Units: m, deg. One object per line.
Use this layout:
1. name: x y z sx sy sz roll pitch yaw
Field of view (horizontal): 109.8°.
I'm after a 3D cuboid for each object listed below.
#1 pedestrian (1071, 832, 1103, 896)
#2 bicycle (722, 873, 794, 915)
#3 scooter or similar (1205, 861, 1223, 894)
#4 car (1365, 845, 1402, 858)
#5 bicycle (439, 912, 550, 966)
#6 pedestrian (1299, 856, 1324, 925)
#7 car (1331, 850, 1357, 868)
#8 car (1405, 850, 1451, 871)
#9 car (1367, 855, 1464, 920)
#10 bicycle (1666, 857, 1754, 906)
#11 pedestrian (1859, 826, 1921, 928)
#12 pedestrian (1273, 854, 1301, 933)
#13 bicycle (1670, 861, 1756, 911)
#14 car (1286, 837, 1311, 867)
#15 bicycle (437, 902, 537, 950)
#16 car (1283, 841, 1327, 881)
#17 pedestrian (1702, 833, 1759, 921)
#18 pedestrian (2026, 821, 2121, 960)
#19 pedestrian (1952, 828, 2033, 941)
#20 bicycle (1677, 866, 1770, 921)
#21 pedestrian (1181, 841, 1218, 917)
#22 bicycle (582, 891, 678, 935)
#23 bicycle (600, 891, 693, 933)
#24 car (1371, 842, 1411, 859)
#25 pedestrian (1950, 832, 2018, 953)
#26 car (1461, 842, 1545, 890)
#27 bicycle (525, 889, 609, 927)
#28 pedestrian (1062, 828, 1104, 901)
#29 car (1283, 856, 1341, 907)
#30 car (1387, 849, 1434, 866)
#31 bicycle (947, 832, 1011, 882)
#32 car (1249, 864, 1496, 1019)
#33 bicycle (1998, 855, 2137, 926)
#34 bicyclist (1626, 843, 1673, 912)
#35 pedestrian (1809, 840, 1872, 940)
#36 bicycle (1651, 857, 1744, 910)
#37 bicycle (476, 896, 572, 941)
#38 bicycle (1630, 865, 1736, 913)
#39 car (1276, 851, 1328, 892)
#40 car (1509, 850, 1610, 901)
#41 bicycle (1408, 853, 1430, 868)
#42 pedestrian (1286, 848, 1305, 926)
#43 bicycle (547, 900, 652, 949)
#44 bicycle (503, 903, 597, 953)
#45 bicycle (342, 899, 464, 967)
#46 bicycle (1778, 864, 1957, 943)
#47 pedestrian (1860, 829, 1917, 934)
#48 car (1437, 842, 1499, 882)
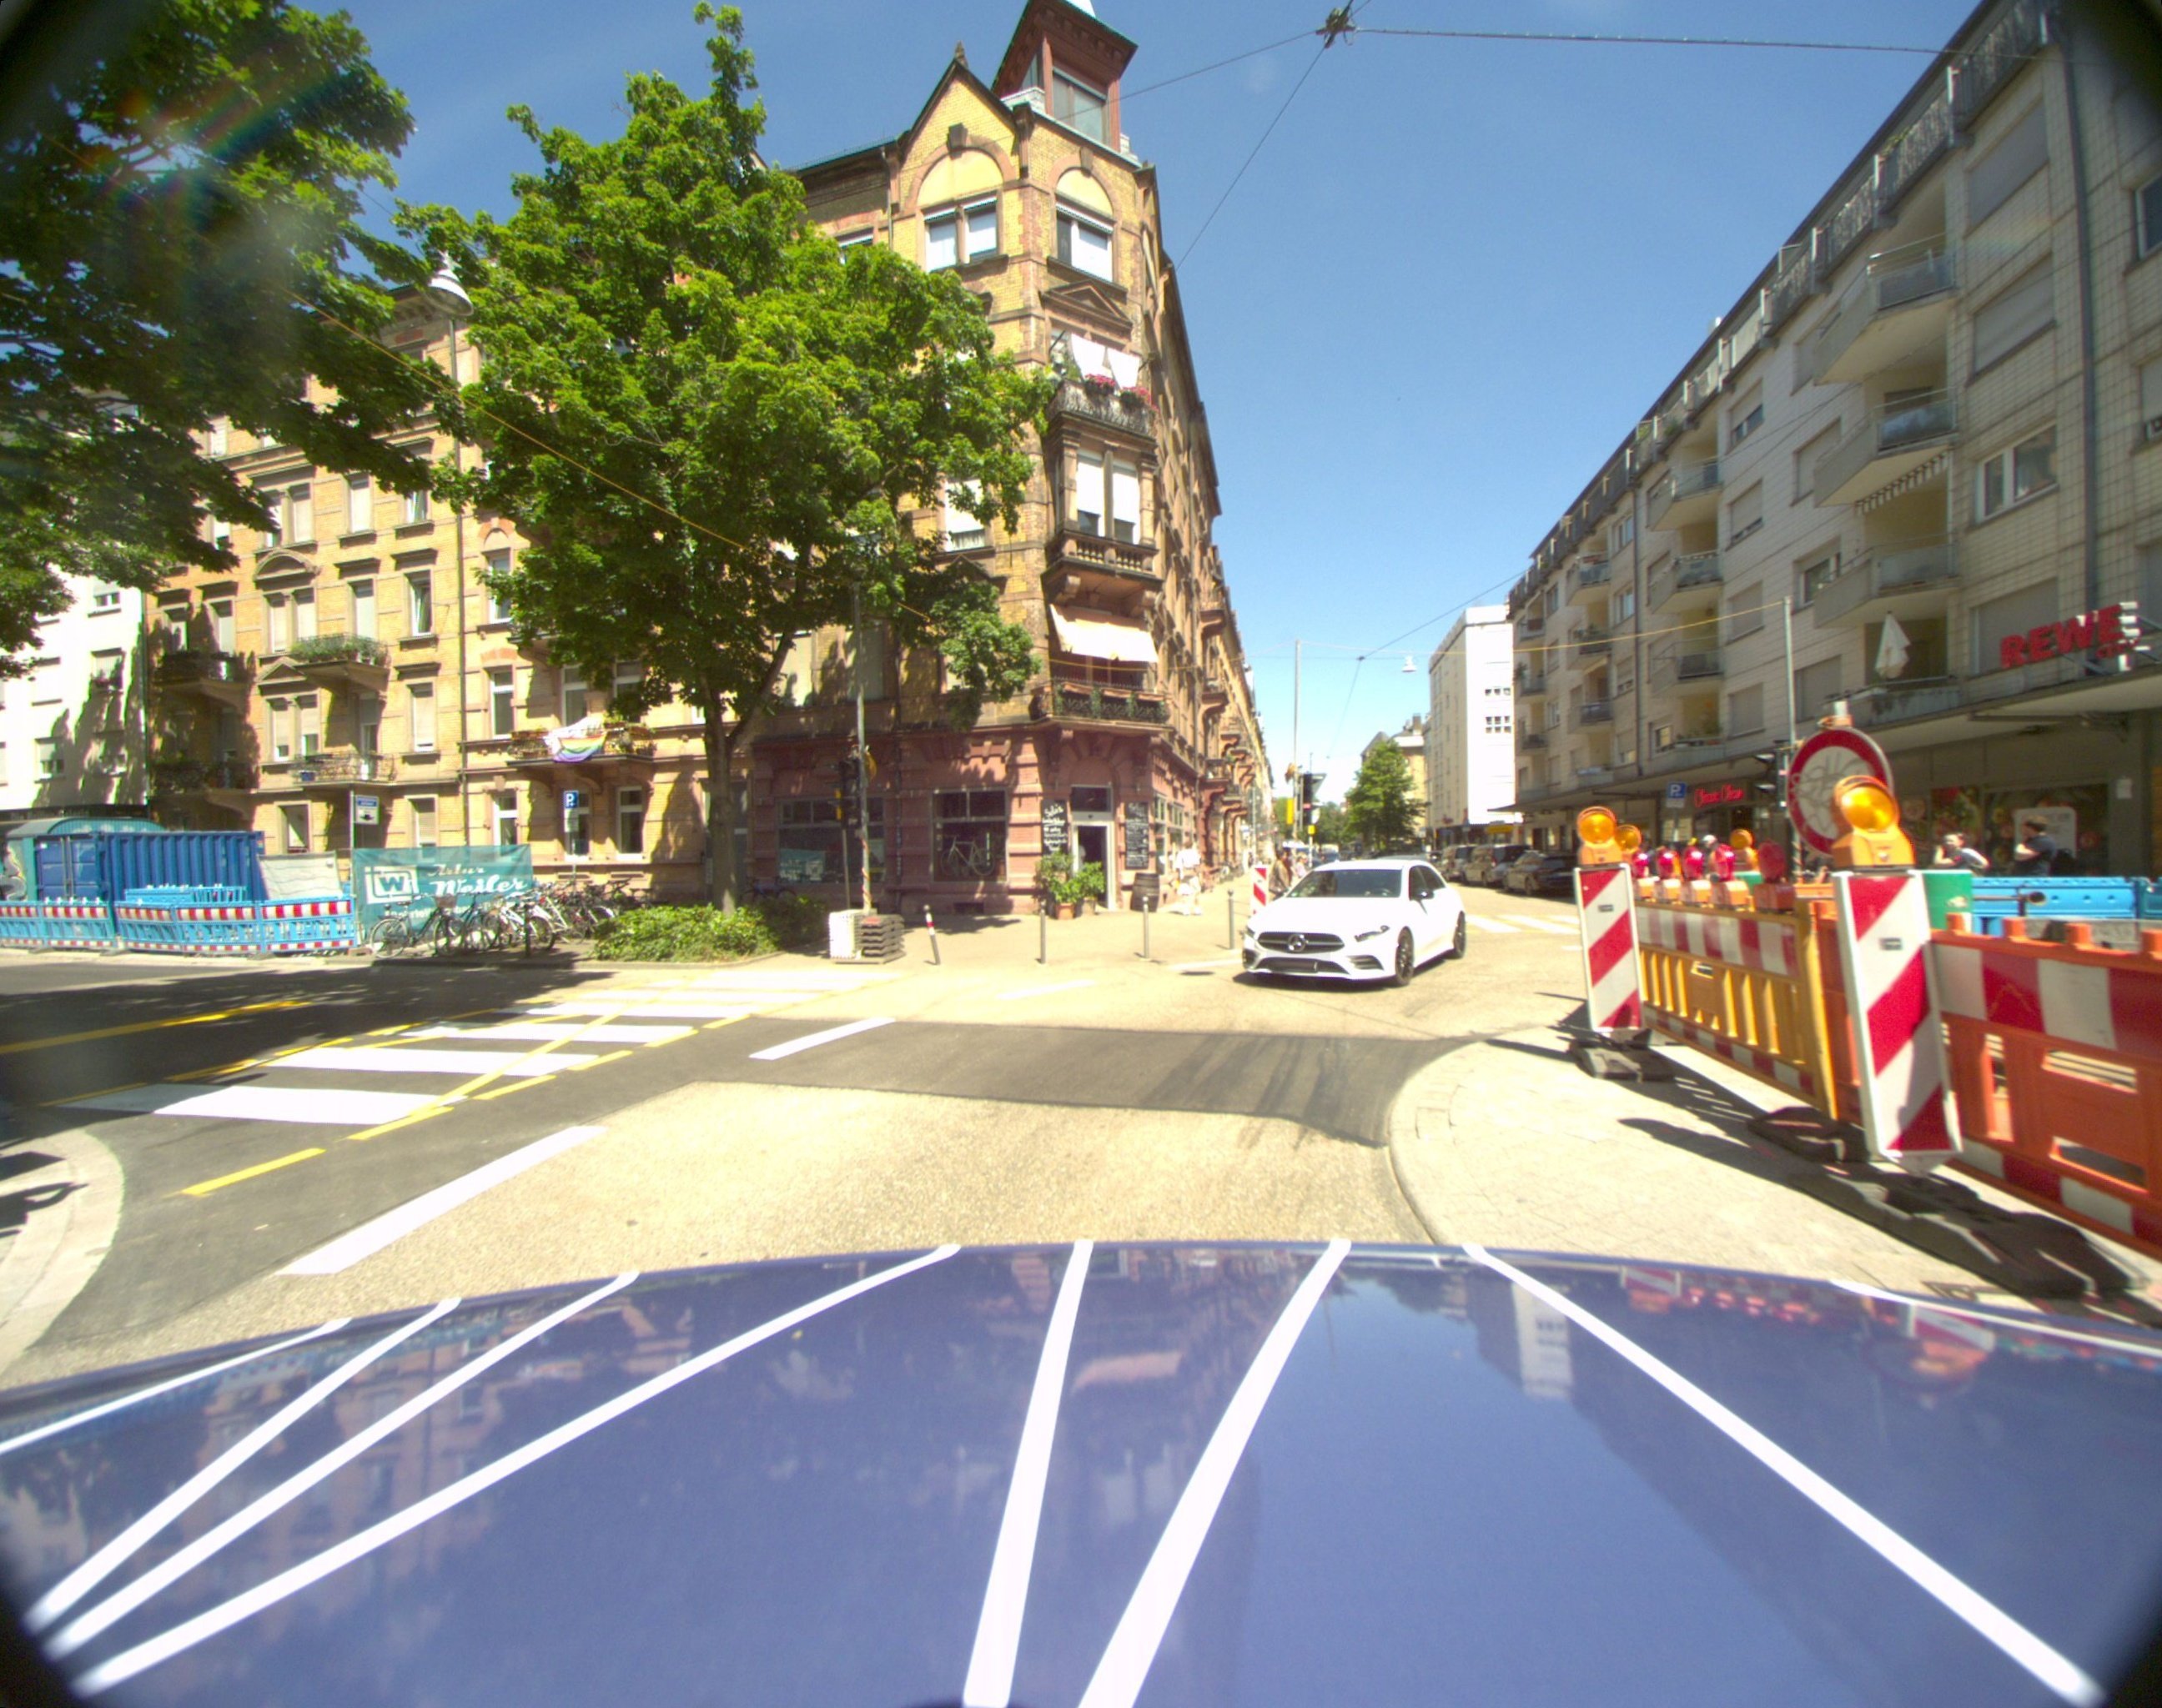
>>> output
1. pedestrian: 0.166 0.254 20.810 0.725 1.709 0.495 -1 3 -30
2. bicycle: -8.151 1.006 19.175 1.693 1.002 0.523 -1 1 16
3. scooter or similar: 4.949 0.865 28.219 0.293 1.170 1.274 -1 1 25
4. car: 35.520 -0.283 89.246 3.881 1.487 1.654 -1 0 15
5. bicycle: -10.482 1.496 13.569 2.070 0.867 0.510 -1 1 19
6. pedestrian: 5.313 0.824 17.494 0.493 1.534 0.437 2 2 22
7. car: 22.040 0.392 63.881 1.746 1.382 4.004 -1 1 15
8. car: 24.473 0.416 53.766 1.813 1.417 3.893 -1 0 6
9. car: 8.861 0.826 20.460 1.778 1.460 4.004 -3 0 16
10. bicycle: 14.350 0.624 17.366 1.496 1.024 0.398 -3 0 11
11. pedestrian: 14.366 0.402 13.505 0.509 1.760 0.600 -1 1 13
12. pedestrian: 4.101 0.774 15.112 0.460 1.551 0.479 -1 1 22
13. bicycle: 14.130 0.710 16.999 1.450 1.030 0.336 -3 0 11
14. car: 20.806 -0.249 72.743 2.065 2.687 5.044 -3 0 16
15. bicycle: -11.788 1.408 15.077 2.070 0.867 0.510 -1 1 19
16. car: 10.582 0.275 36.136 1.827 1.757 4.342 0 1 14
17. pedestrian: 13.022 0.453 15.247 0.657 1.717 0.633 -1 1 13
18. pedestrian: 13.307 0.481 10.209 0.509 1.809 0.600 -1 1 13
19. pedestrian: 13.444 0.436 11.222 0.509 1.623 0.600 -1 1 13
20. bicycle: 14.013 0.858 16.592 1.522 1.110 0.336 -3 0 11
21. pedestrian: 2.793 0.574 17.842 0.477 1.723 0.873 0 2 35
22. bicycle: -9.530 1.228 16.037 2.070 0.867 0.510 -1 1 19
23. bicycle: -9.530 1.257 16.652 2.070 0.867 0.510 -1 1 19
24. car: 34.121 -0.352 83.822 3.881 1.737 1.654 -1 0 15
25. pedestrian: 12.280 0.514 10.343 0.390 1.608 0.476 -1 1 13
26. car: 17.698 0.469 32.118 1.791 1.801 4.703 -2 0 13
27. bicycle: -12.320 1.278 18.193 2.070 0.867 0.510 -1 1 19
28. pedestrian: 0.047 0.247 19.412 0.943 1.810 0.455 -1 4 -31
29. car: 7.344 0.812 24.101 1.629 1.424 3.665 0 1 18
30. car: 30.967 0.301 71.531 3.881 1.520 1.654 -1 0 15
31. bicycle: -2.437 0.069 18.154 1.423 1.145 0.510 -1 1 18
32. car: 3.910 0.903 9.702 1.810 1.417 4.250 -2 0 37
33. bicycle: 16.048 0.572 12.409 0.321 1.080 1.432 -2 0 -3
34. bicyclist: 14.459 0.586 19.352 0.624 1.696 0.980 -2 1 17
35. pedestrian: 12.579 0.587 12.594 0.542 1.623 0.512 -1 1 13
36. bicycle: 14.486 0.688 17.875 1.586 1.132 0.527 -3 0 13
37. bicycle: -11.606 1.319 15.818 2.070 0.867 0.510 -1 1 19
38. bicycle: 14.737 0.858 18.651 1.936 1.085 0.605 -2 0 17
39. car: 8.548 0.618 29.669 1.728 1.424 4.490 0 1 14
40. car: 15.996 0.671 25.631 1.672 1.516 4.469 -2 0 16
41. bicycle: 27.282 0.514 61.312 1.607 1.084 0.371 -3 0 21
42. pedestrian: 4.650 0.709 16.476 0.332 1.666 0.402 -1 1 22
43. bicycle: -9.304 1.346 14.677 2.070 0.867 0.510 -1 1 19
44. bicycle: -10.017 1.373 14.321 1.741 0.867 0.510 -1 1 19
45. bicycle: -11.699 1.349 13.122 1.782 1.101 0.509 -1 3 9
46. bicycle: 11.863 0.738 11.547 1.806 1.112 0.469 -3 0 37
47. pedestrian: 12.302 0.417 11.589 0.496 1.556 0.460 -3 0 42
48. car: 19.322 0.380 38.142 1.791 1.818 4.906 -2 0 16
